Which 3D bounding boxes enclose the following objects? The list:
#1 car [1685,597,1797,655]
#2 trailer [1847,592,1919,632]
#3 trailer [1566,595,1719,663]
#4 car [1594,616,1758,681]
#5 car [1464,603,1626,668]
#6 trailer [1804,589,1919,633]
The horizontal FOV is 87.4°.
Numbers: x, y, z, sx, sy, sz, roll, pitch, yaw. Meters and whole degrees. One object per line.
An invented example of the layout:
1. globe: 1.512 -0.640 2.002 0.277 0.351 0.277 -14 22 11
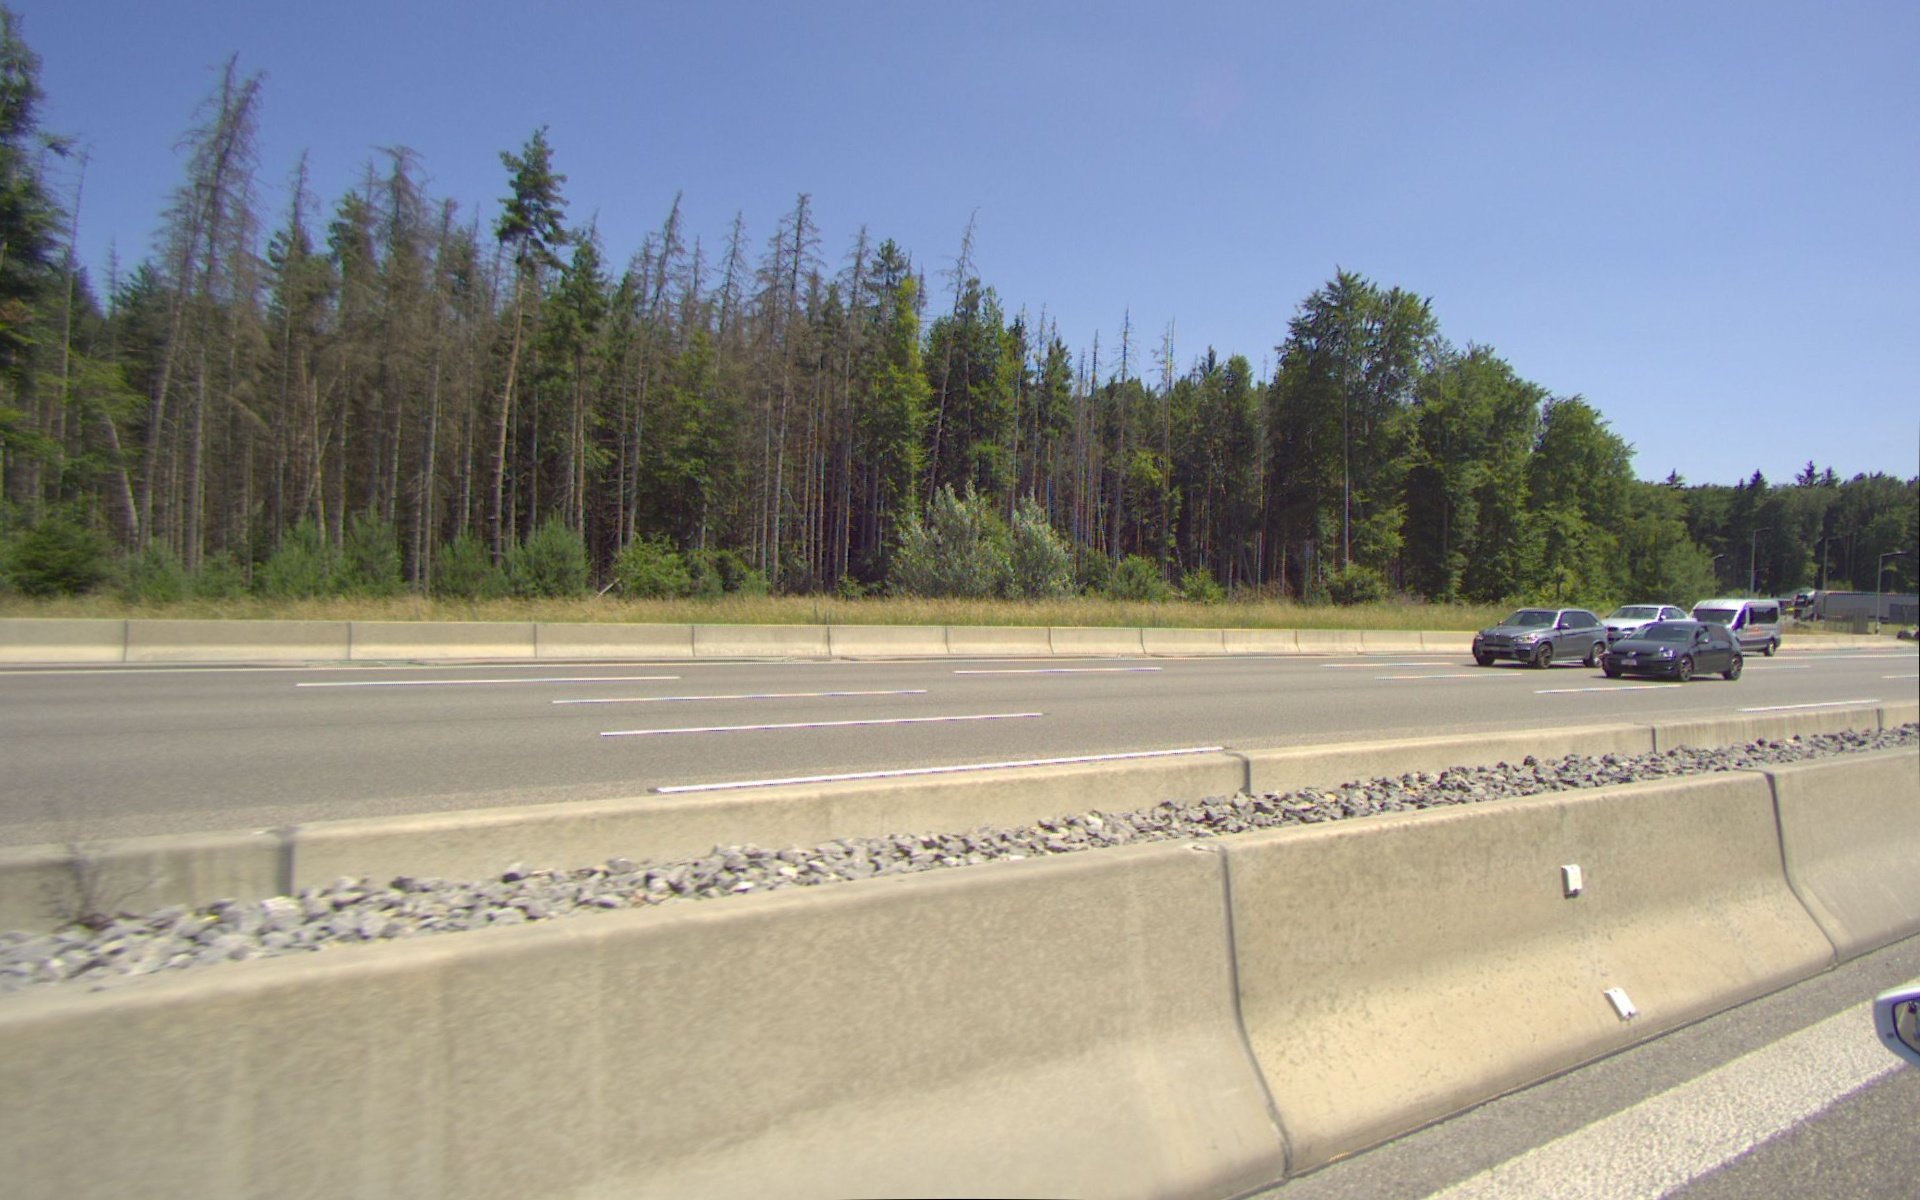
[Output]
1. car: 34.806 1.163 44.726 6.276 2.445 1.937 1 0 -33
2. trailer: 127.548 1.719 133.603 14.272 5.140 3.225 2 1 14
3. trailer: 22.742 0.956 33.384 6.082 2.078 1.845 1 0 -31
4. car: 18.147 1.190 25.414 4.524 1.483 1.721 1 0 -31
5. car: 17.736 1.059 30.343 5.519 1.782 1.804 1 0 -31
6. trailer: 117.553 1.413 128.670 14.272 5.140 3.131 2 1 14
